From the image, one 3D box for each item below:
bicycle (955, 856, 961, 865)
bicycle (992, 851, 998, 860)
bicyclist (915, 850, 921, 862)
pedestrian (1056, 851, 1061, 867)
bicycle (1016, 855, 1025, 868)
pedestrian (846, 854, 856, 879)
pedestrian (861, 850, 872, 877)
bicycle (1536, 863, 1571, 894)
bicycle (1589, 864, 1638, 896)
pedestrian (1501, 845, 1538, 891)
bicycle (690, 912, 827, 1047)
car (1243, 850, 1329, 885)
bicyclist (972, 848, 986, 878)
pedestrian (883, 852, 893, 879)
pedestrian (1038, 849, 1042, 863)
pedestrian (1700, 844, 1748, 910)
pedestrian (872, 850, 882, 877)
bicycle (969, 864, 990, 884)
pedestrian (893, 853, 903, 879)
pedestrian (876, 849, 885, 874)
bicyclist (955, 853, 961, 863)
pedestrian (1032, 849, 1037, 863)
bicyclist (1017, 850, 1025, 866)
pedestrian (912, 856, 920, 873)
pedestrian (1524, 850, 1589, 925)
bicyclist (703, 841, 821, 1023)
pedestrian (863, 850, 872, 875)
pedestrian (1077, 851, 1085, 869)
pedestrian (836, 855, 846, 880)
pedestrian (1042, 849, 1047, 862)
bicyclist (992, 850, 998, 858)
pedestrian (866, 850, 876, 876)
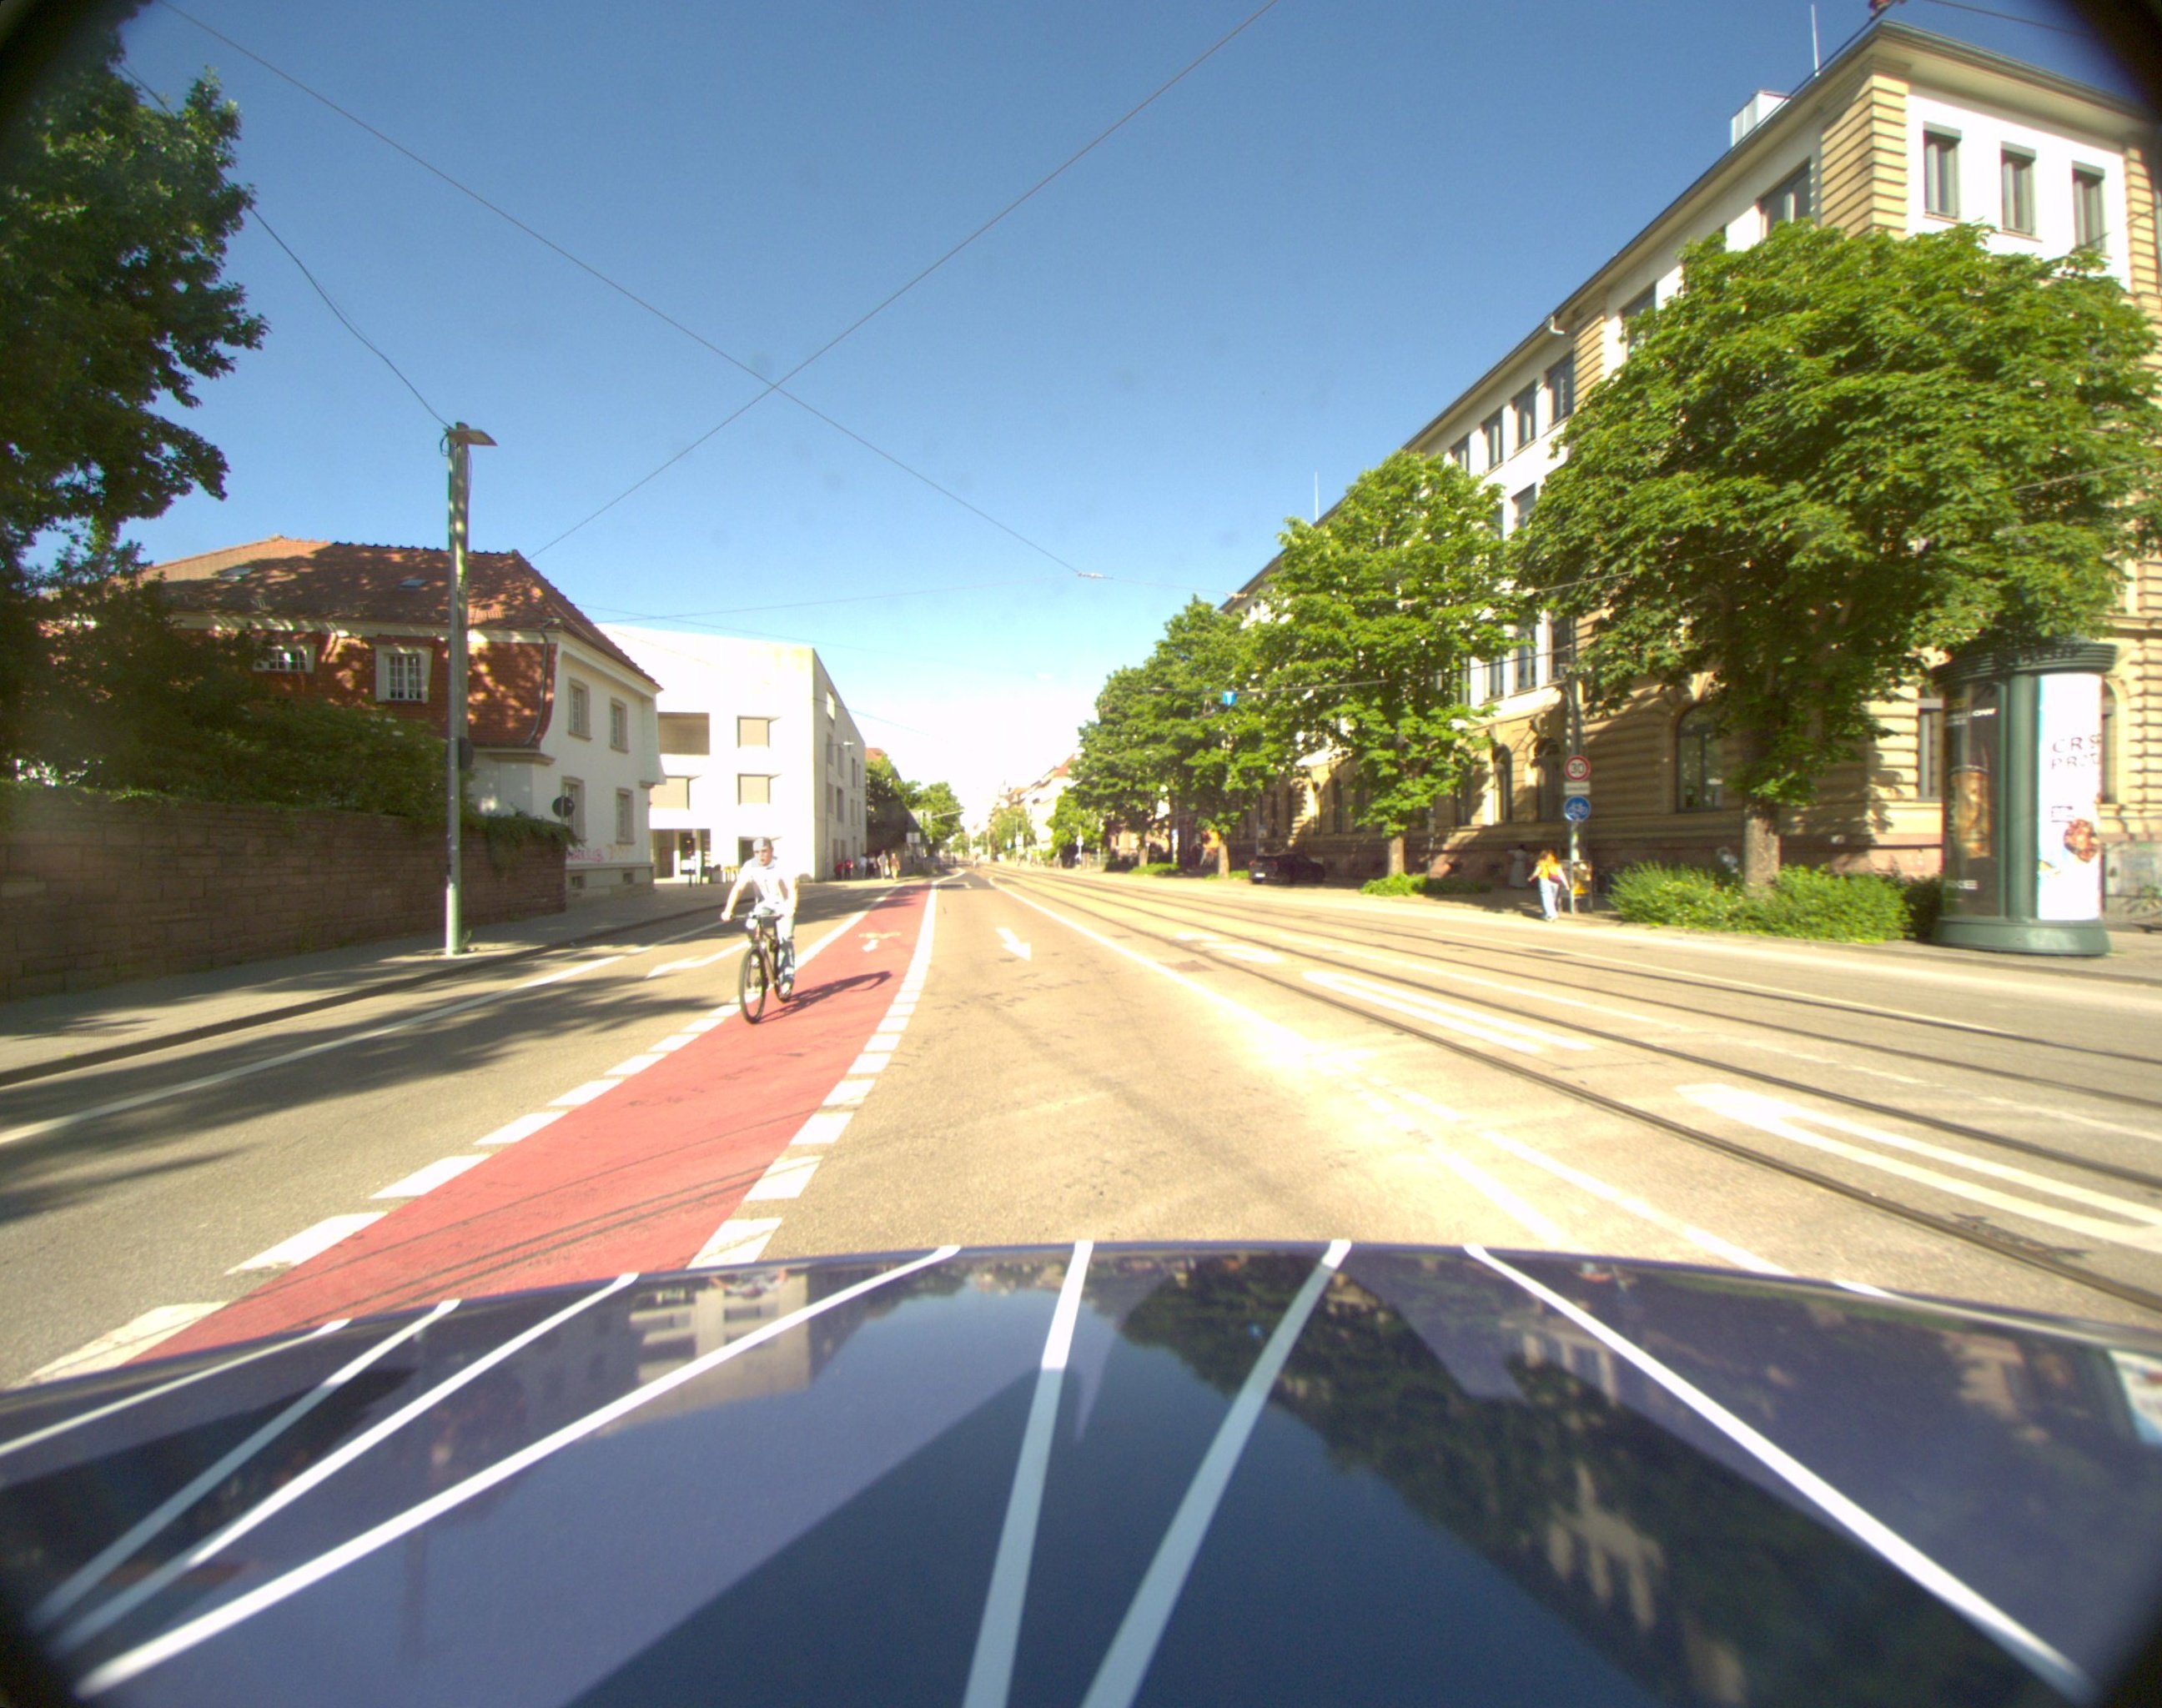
[{"bbox_3d":[-17.309,0.936,107.036,0.665,1.146,1.671,-2,2,-6],"label":"bicycle"},{"bbox_3d":[-17.205,0.330,151.832,1.004,1.672,2.981,-2,2,-9],"label":"bicycle"},{"bbox_3d":[-29.919,0.298,139.319,0.813,2.194,0.983,-2,2,-8],"label":"bicyclist"},{"bbox_3d":[-2.716,0.579,91.726,0.579,1.845,0.653,0,1,-9],"label":"pedestrian"},{"bbox_3d":[-8.449,1.088,106.412,1.003,1.672,2.982,-2,2,-7],"label":"bicycle"},{"bbox_3d":[-14.488,0.805,47.913,0.534,1.557,0.519,-1,1,-11],"label":"pedestrian"},{"bbox_3d":[-14.403,0.658,51.023,0.588,1.795,0.545,-1,1,-11],"label":"pedestrian"},{"bbox_3d":[15.370,0.786,24.749,0.343,0.951,1.101,-2,2,-8],"label":"bicycle"},{"bbox_3d":[16.220,0.782,23.159,0.398,0.898,1.360,-2,2,-8],"label":"bicycle"},{"bbox_3d":[15.533,0.475,26.927,0.858,1.558,0.672,-4,2,-5],"label":"pedestrian"},{"bbox_3d":[-3.255,1.220,7.860,0.612,1.071,1.830,-1,0,0],"label":"bicycle"},{"bbox_3d":[9.971,0.608,36.858,4.118,1.565,1.916,-1,1,-37],"label":"car"},{"bbox_3d":[-10.243,0.916,76.279,1.005,2.959,1.471,-3,2,-24],"label":"bicyclist"},{"bbox_3d":[-12.983,0.743,51.001,0.588,1.795,0.519,-1,1,-11],"label":"pedestrian"},{"bbox_3d":[-5.627,0.243,104.456,0.579,1.845,0.684,0,1,-9],"label":"pedestrian"},{"bbox_3d":[15.498,0.537,18.320,0.579,1.553,0.653,-1,1,-10],"label":"pedestrian"},{"bbox_3d":[-13.733,0.636,51.086,0.588,1.795,0.545,-1,1,-11],"label":"pedestrian"},{"bbox_3d":[-10.217,1.986,76.289,1.005,1.876,3.886,-3,2,-24],"label":"bicycle"},{"bbox_3d":[-12.370,0.800,51.404,0.588,1.717,0.519,-1,1,-11],"label":"pedestrian"},{"bbox_3d":[-14.597,0.566,55.292,0.588,1.795,0.545,-1,1,-11],"label":"pedestrian"},{"bbox_3d":[-17.320,0.552,107.004,0.665,1.453,0.622,-2,2,-6],"label":"bicyclist"},{"bbox_3d":[-6.286,0.294,103.147,0.579,1.845,0.684,0,1,-9],"label":"pedestrian"},{"bbox_3d":[-8.457,0.577,106.350,1.003,2.255,1.020,-2,2,-7],"label":"bicyclist"},{"bbox_3d":[-17.350,1.096,79.896,0.679,1.728,0.931,0,1,-8],"label":"pedestrian"},{"bbox_3d":[10.758,0.735,17.232,0.771,1.660,1.033,1,1,-4],"label":"pedestrian"},{"bbox_3d":[-3.284,0.759,7.919,0.751,1.765,1.014,-1,1,0],"label":"bicyclist"},{"bbox_3d":[-15.478,0.596,55.098,0.588,1.795,0.545,-1,1,-11],"label":"pedestrian"},{"bbox_3d":[-0.038,0.581,76.880,0.729,1.845,0.653,0,1,-7],"label":"pedestrian"},{"bbox_3d":[-15.087,0.826,47.789,0.534,1.557,0.519,-1,1,-11],"label":"pedestrian"},{"bbox_3d":[-4.974,0.220,104.605,0.579,1.845,0.684,0,1,-9],"label":"pedestrian"},{"bbox_3d":[-17.218,-0.006,151.815,1.004,1.712,0.983,-2,2,-10],"label":"bicyclist"},{"bbox_3d":[-14.635,0.622,52.884,0.588,1.795,0.582,-1,1,-11],"label":"pedestrian"}]
